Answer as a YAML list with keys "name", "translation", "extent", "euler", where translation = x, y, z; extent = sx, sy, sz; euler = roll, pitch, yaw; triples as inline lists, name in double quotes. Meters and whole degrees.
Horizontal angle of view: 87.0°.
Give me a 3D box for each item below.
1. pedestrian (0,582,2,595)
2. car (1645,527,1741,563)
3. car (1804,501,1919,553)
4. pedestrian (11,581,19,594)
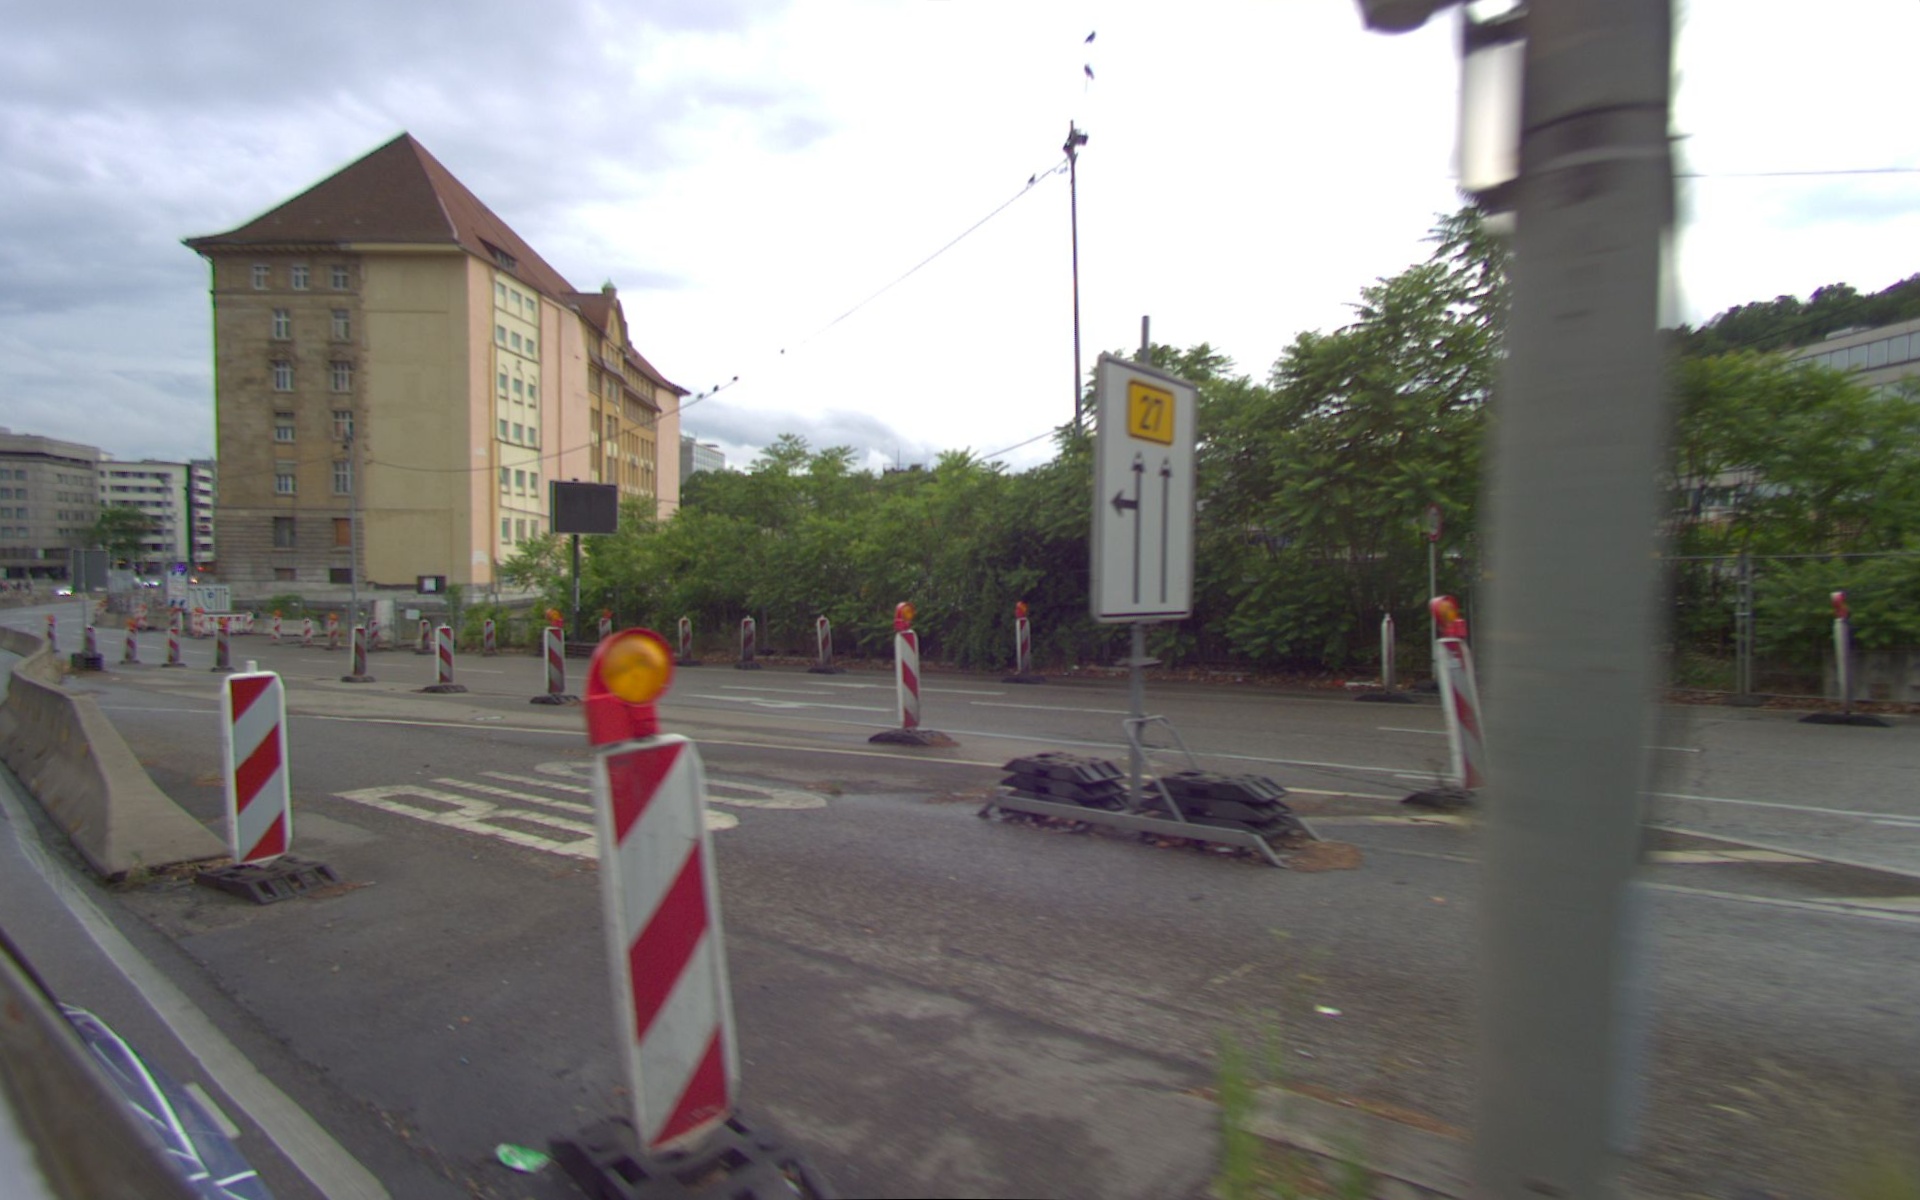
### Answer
- name: "pedestrian"
  translation: [-130.491, -1.541, 136.930]
  extent: [1.081, 1.774, 0.909]
  euler: [1, 1, -24]
- name: "car"
  translation: [37.055, -2.744, 51.309]
  extent: [1.973, 1.718, 3.998]
  euler: [0, 2, 2]
- name: "car"
  translation: [37.840, -2.982, 42.182]
  extent: [1.973, 2.028, 3.998]
  euler: [0, 2, 2]
- name: "pedestrian"
  translation: [-129.986, -1.689, 139.248]
  extent: [0.745, 1.774, 0.767]
  euler: [1, 1, -39]
